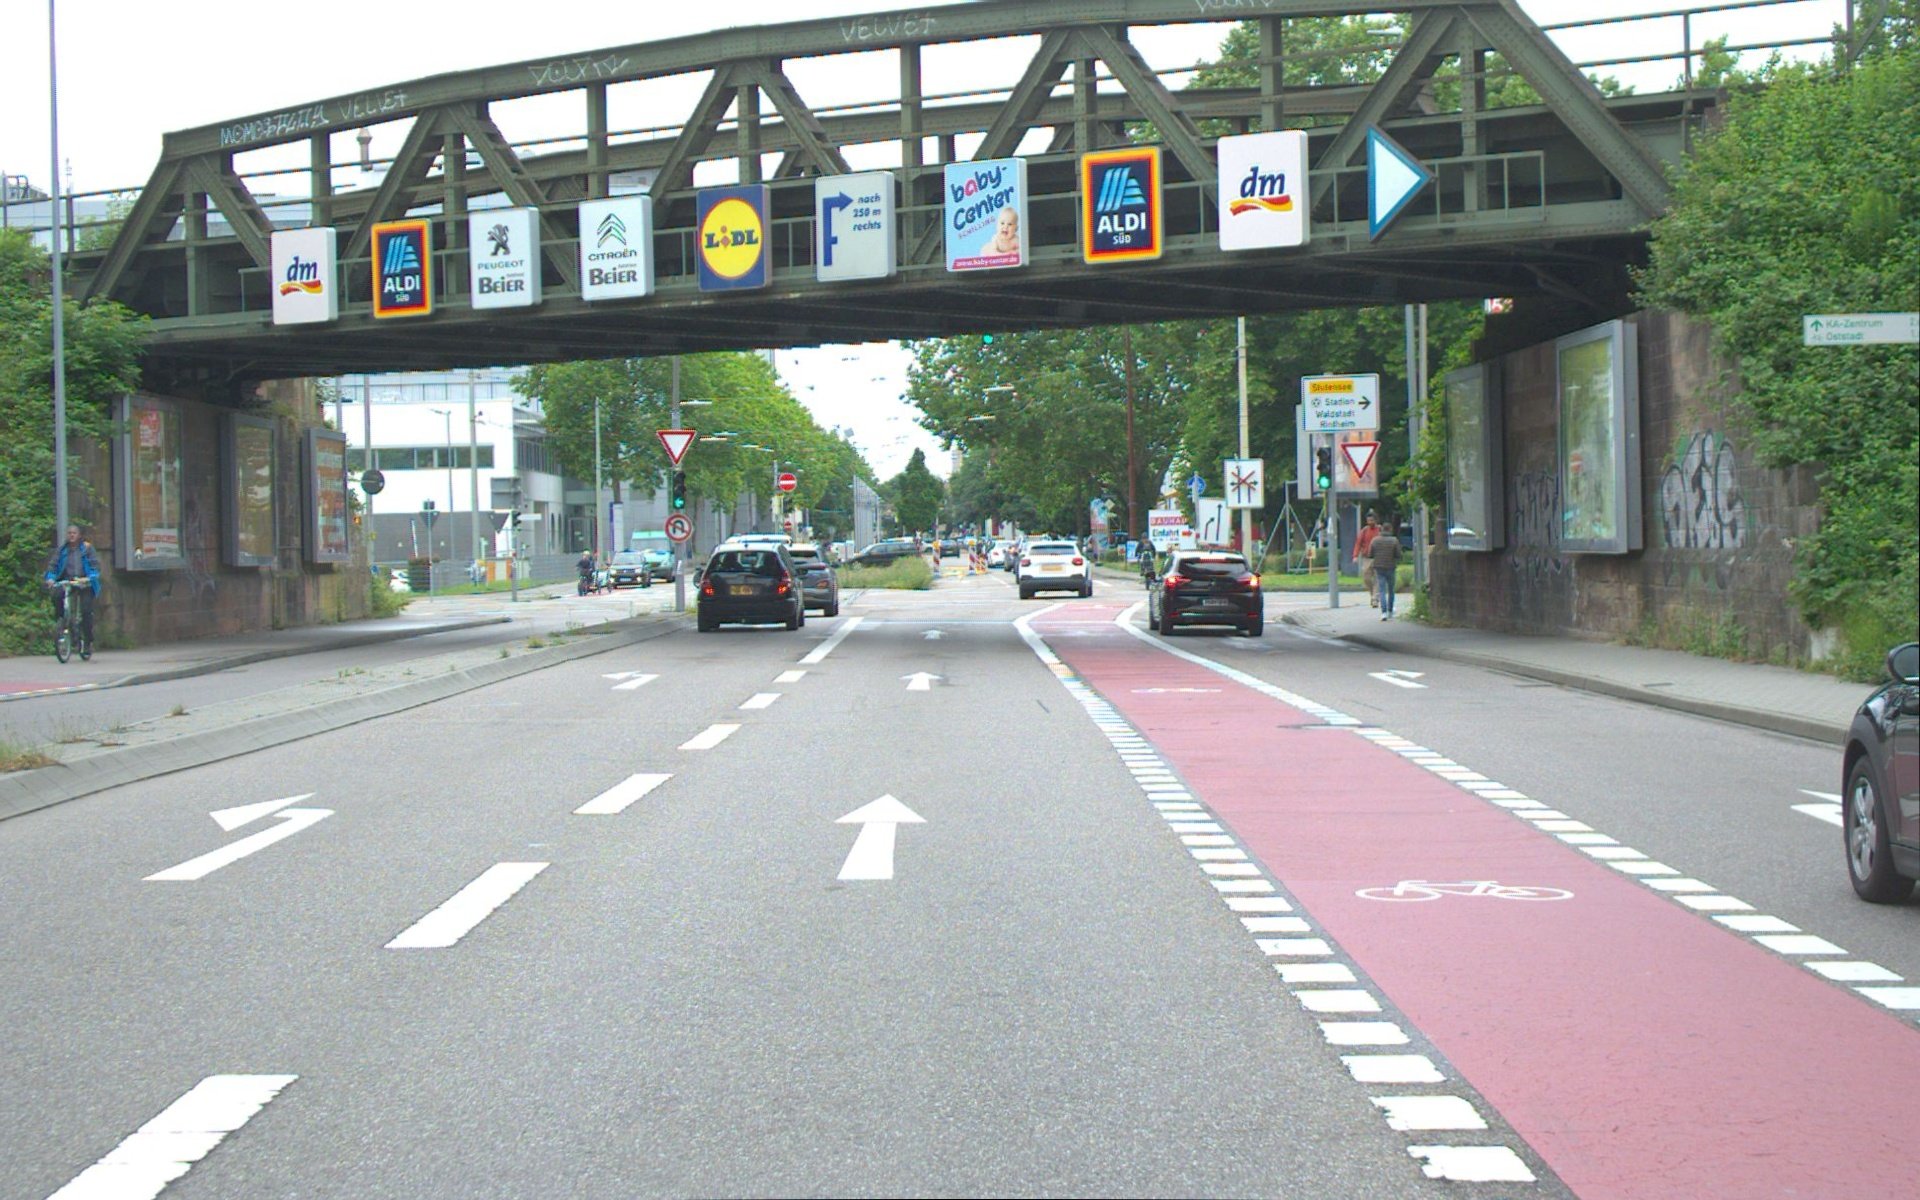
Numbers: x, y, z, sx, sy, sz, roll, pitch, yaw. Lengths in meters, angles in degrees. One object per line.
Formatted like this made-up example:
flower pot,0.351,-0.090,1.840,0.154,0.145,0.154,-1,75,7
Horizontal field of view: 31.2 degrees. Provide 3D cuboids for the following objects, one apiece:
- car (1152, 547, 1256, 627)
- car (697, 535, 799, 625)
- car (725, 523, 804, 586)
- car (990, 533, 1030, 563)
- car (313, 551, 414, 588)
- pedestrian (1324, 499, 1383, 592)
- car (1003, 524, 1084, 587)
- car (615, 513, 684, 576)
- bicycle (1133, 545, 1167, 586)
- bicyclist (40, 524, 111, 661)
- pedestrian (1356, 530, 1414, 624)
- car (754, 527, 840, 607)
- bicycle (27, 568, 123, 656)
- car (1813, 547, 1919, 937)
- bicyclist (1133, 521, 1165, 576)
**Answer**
car,4.085,-0.235,57.908,1.647,1.276,3.419,0,1,3
car,-3.774,-0.382,61.338,1.768,1.522,3.670,0,1,-3
car,-4.991,-1.176,87.363,1.961,1.522,5.012,0,1,-4
car,2.588,-2.713,179.663,1.795,1.508,3.706,0,1,-3
car,-28.699,-1.469,165.516,4.526,1.628,1.913,-2,1,-3
pedestrian,7.517,-1.042,65.666,0.873,1.753,0.786,-1,1,25
car,2.187,-1.188,90.722,1.823,1.595,3.776,0,1,-3
car,-14.387,-2.557,159.735,2.328,2.816,5.949,-1,1,3
bicycle,5.681,-1.047,103.141,0.816,1.208,2.683,-2,1,-1
bicyclist,-12.226,-0.109,47.539,0.702,1.868,1.020,1,0,0
pedestrian,7.508,-0.407,60.744,0.743,1.634,0.777,0,1,33
car,-3.487,-0.719,72.912,1.772,1.647,3.670,0,1,-3
bicycle,-12.228,0.155,47.563,0.713,1.183,2.371,1,1,0
car,4.387,0.539,12.481,1.679,1.426,3.774,0,1,1
bicyclist,5.664,-1.539,103.131,0.816,1.624,1.235,-2,1,0
